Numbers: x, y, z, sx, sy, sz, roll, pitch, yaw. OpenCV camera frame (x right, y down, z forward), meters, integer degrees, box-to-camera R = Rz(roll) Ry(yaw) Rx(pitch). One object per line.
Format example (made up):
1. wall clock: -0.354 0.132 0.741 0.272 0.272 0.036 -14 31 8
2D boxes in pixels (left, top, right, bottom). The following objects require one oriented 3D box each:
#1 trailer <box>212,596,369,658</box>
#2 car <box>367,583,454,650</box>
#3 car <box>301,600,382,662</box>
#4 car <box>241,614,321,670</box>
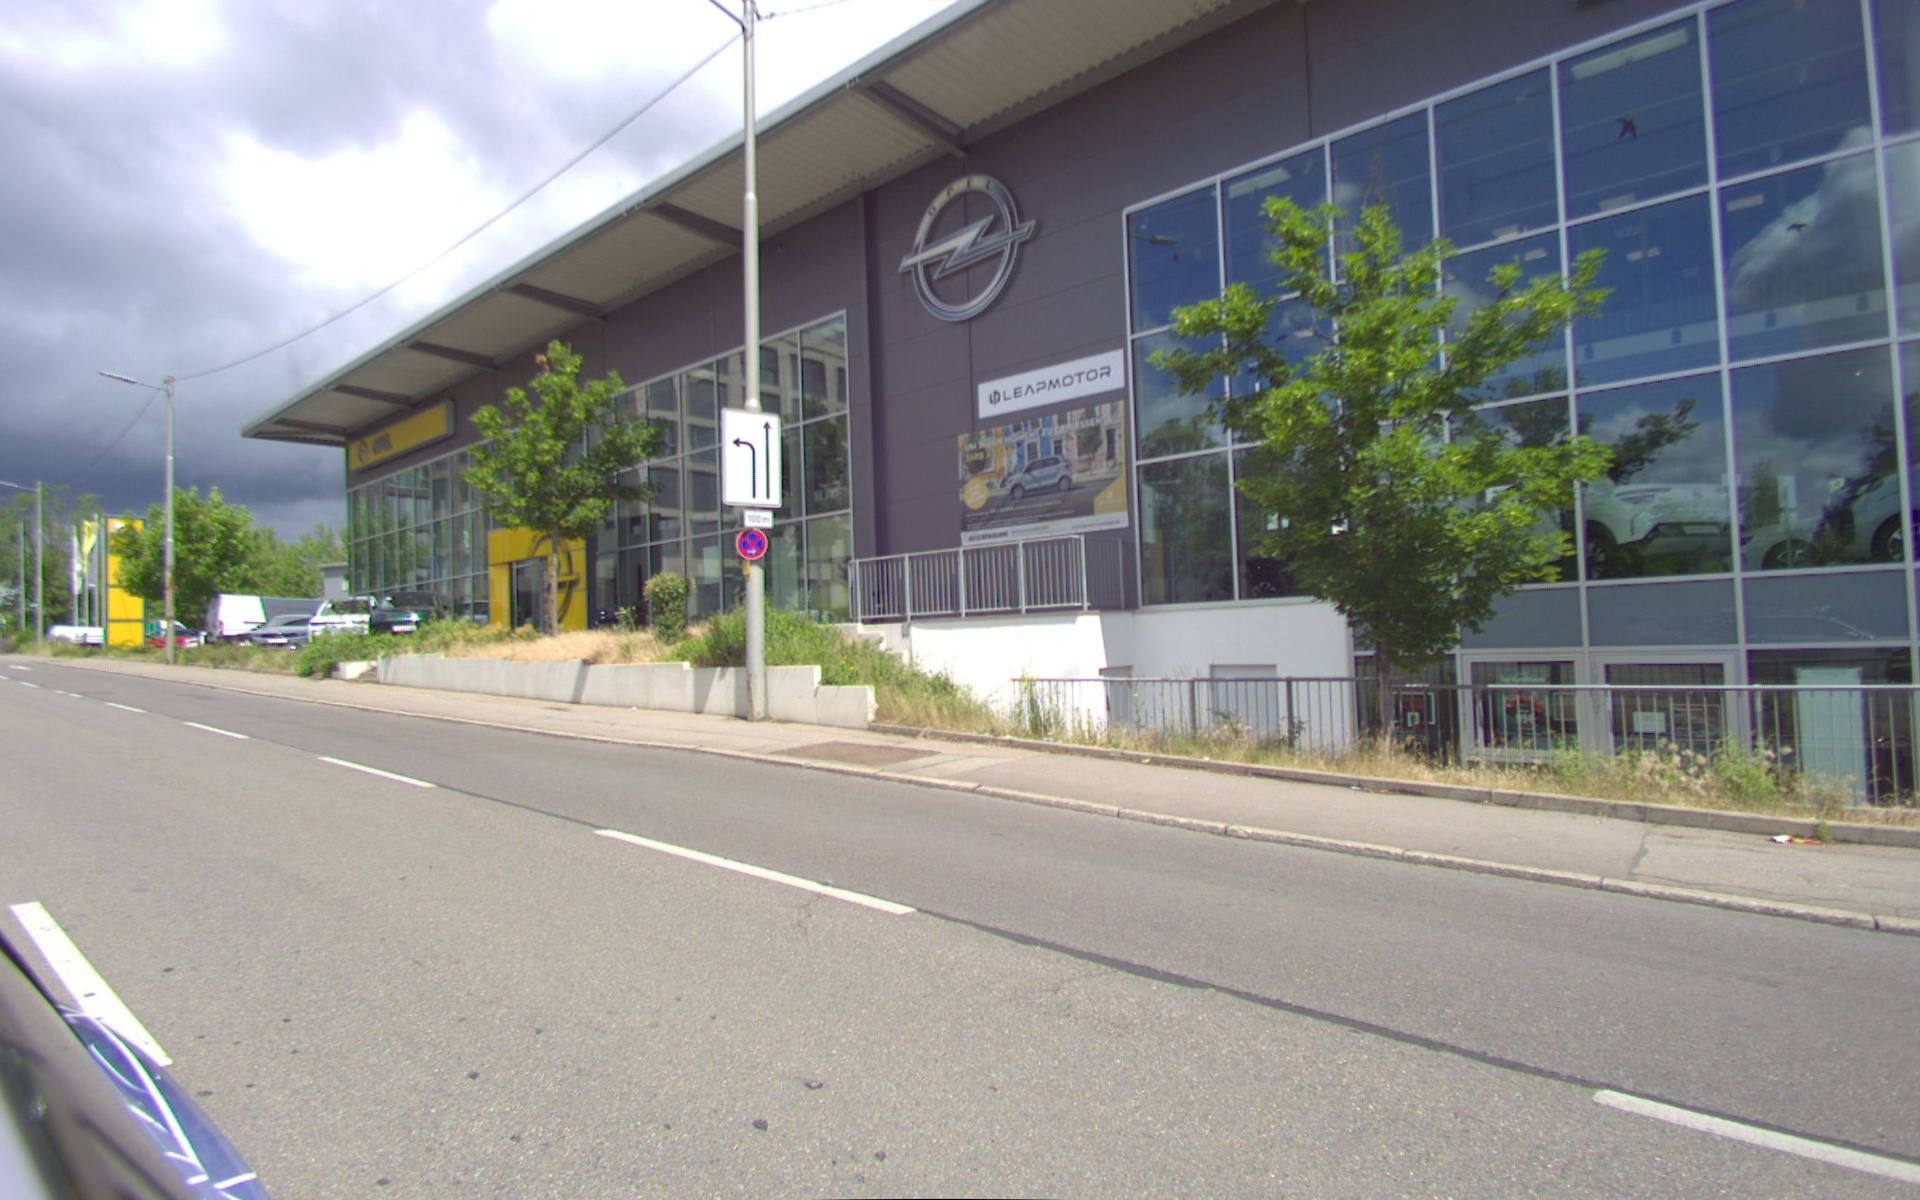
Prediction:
1. trailer: -27.428 1.100 41.604 1.998 2.367 5.011 -1 -2 39
2. car: -15.690 0.482 28.801 1.966 1.741 4.011 1 -2 -31
3. car: -19.216 0.959 31.589 1.966 1.807 4.012 1 -2 -29
4. car: -23.481 1.420 35.151 1.966 1.807 4.012 1 -1 -29
